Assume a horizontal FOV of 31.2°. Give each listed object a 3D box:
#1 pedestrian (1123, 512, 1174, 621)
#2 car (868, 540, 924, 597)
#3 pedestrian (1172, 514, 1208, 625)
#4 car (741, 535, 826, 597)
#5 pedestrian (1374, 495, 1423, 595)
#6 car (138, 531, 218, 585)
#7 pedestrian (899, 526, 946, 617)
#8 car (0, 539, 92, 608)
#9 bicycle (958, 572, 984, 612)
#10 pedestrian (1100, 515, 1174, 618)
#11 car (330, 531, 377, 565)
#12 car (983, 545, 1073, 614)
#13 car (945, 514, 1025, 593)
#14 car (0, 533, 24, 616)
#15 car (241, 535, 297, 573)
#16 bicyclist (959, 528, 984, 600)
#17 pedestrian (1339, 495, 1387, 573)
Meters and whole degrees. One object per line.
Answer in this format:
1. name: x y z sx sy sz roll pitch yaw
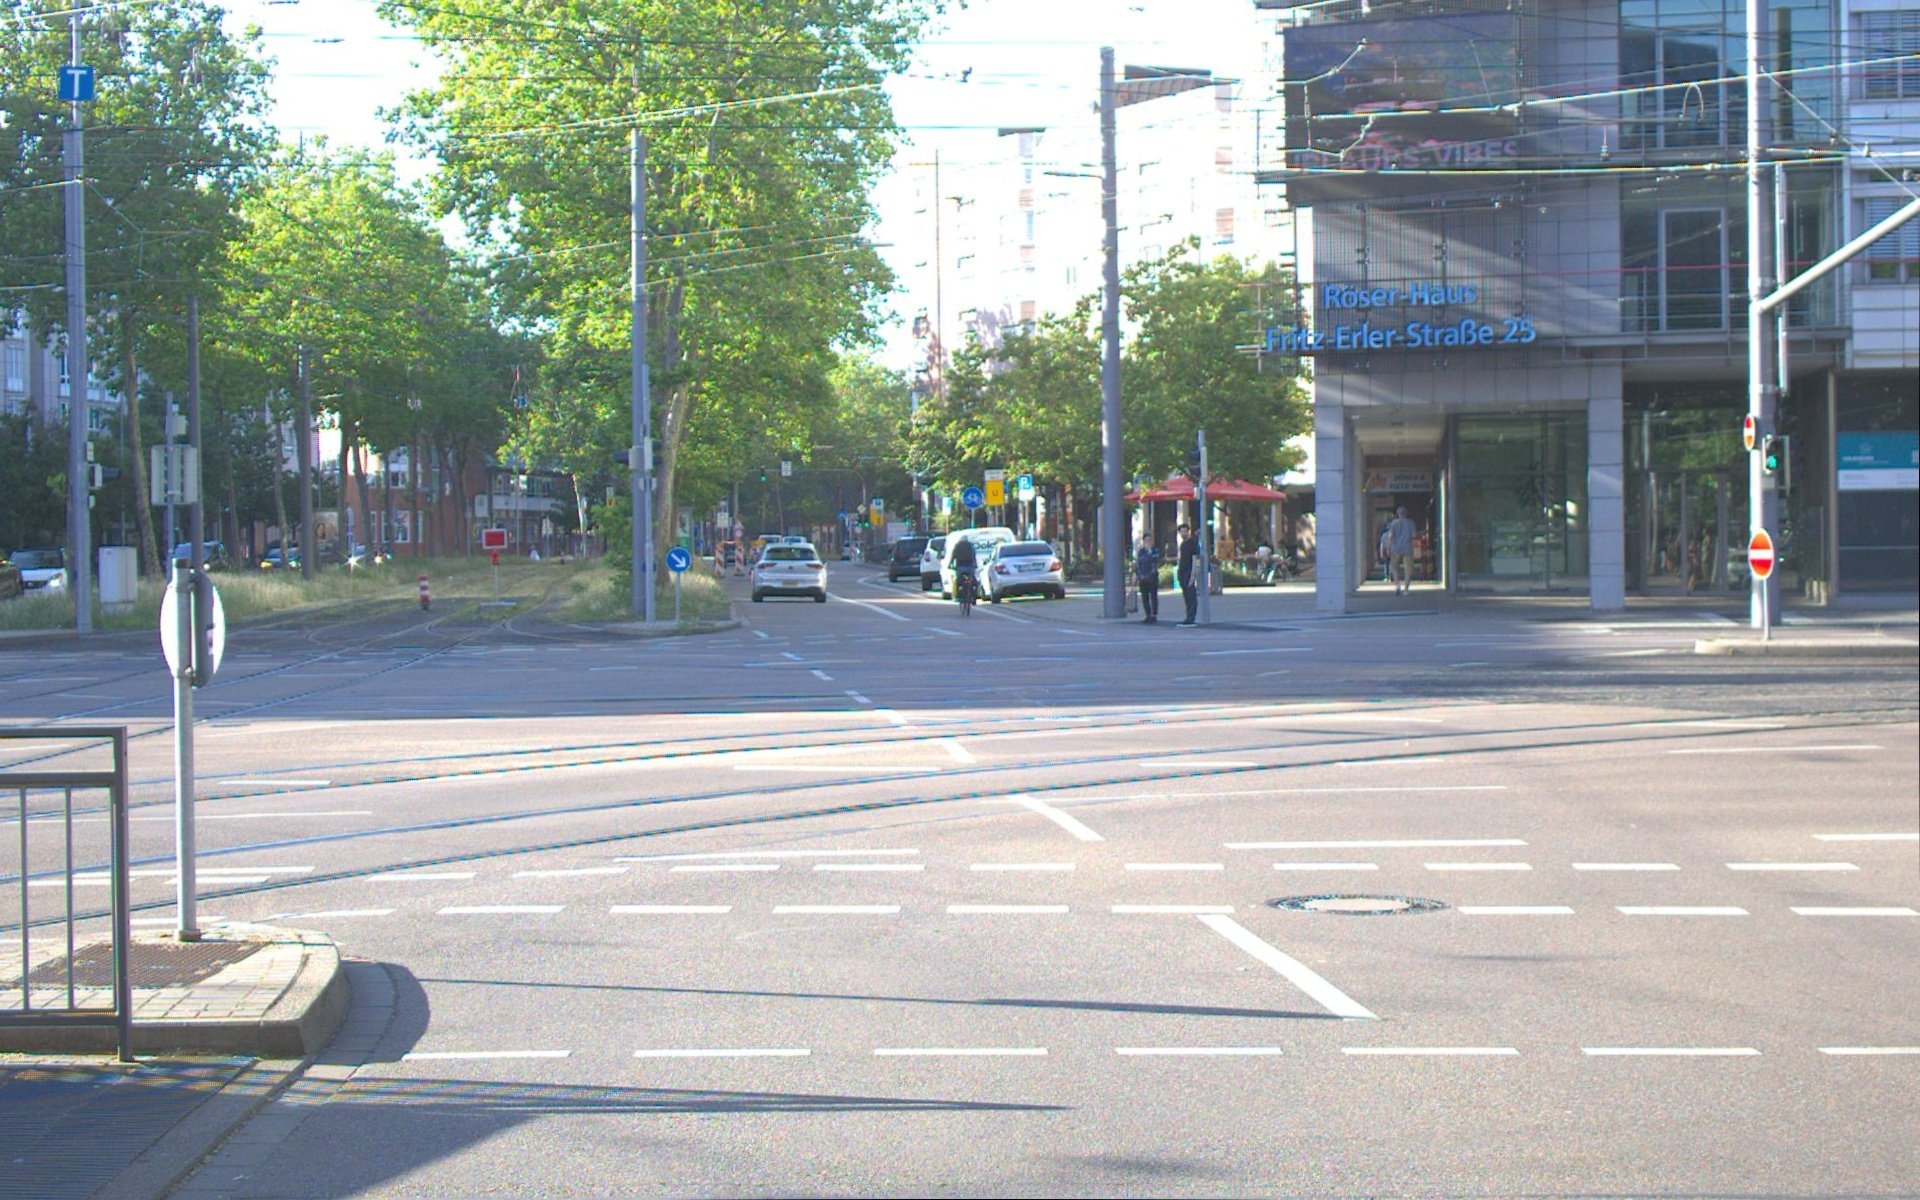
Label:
1. pedestrian: 3.528 -0.629 64.347 0.849 2.007 0.708 1 0 -3
2. car: -2.340 -1.162 126.674 1.993 2.007 4.000 1 1 -1
3. pedestrian: 4.195 -0.557 62.734 0.586 2.007 0.620 1 0 0
4. car: -4.237 -0.841 82.887 1.748 1.413 4.000 0 1 1
5. pedestrian: 8.965 -1.122 70.372 0.869 2.007 0.794 1 -1 -1
6. car: -30.034 -1.622 132.193 1.876 2.007 4.471 -1 1 2
7. pedestrian: -0.709 -0.545 65.231 0.869 1.702 0.794 1 0 -1
8. car: -22.187 -0.646 83.314 1.676 1.601 4.001 1 1 -6
9. bicycle: 0.226 -0.161 69.553 0.490 0.785 1.862 0 1 -1
10. pedestrian: 3.404 -0.643 66.137 1.342 1.944 1.011 -1 0 -1
11. car: -32.407 -2.802 183.813 1.844 1.777 4.000 -1 1 -1
12. car: 1.606 -0.494 82.781 2.029 1.590 4.000 1 1 -1
13. car: 0.636 -1.207 89.850 1.993 2.007 4.000 1 1 -1
14. car: -21.656 -0.548 74.898 1.822 1.784 4.001 -1 1 -7
15. car: -33.169 -2.231 165.084 1.910 1.777 4.000 -1 1 -1
16. bicyclist: 0.231 -0.726 69.284 0.486 1.434 0.615 1 0 -1
17. pedestrian: 11.491 -1.875 98.068 1.313 2.182 1.170 1 0 6
